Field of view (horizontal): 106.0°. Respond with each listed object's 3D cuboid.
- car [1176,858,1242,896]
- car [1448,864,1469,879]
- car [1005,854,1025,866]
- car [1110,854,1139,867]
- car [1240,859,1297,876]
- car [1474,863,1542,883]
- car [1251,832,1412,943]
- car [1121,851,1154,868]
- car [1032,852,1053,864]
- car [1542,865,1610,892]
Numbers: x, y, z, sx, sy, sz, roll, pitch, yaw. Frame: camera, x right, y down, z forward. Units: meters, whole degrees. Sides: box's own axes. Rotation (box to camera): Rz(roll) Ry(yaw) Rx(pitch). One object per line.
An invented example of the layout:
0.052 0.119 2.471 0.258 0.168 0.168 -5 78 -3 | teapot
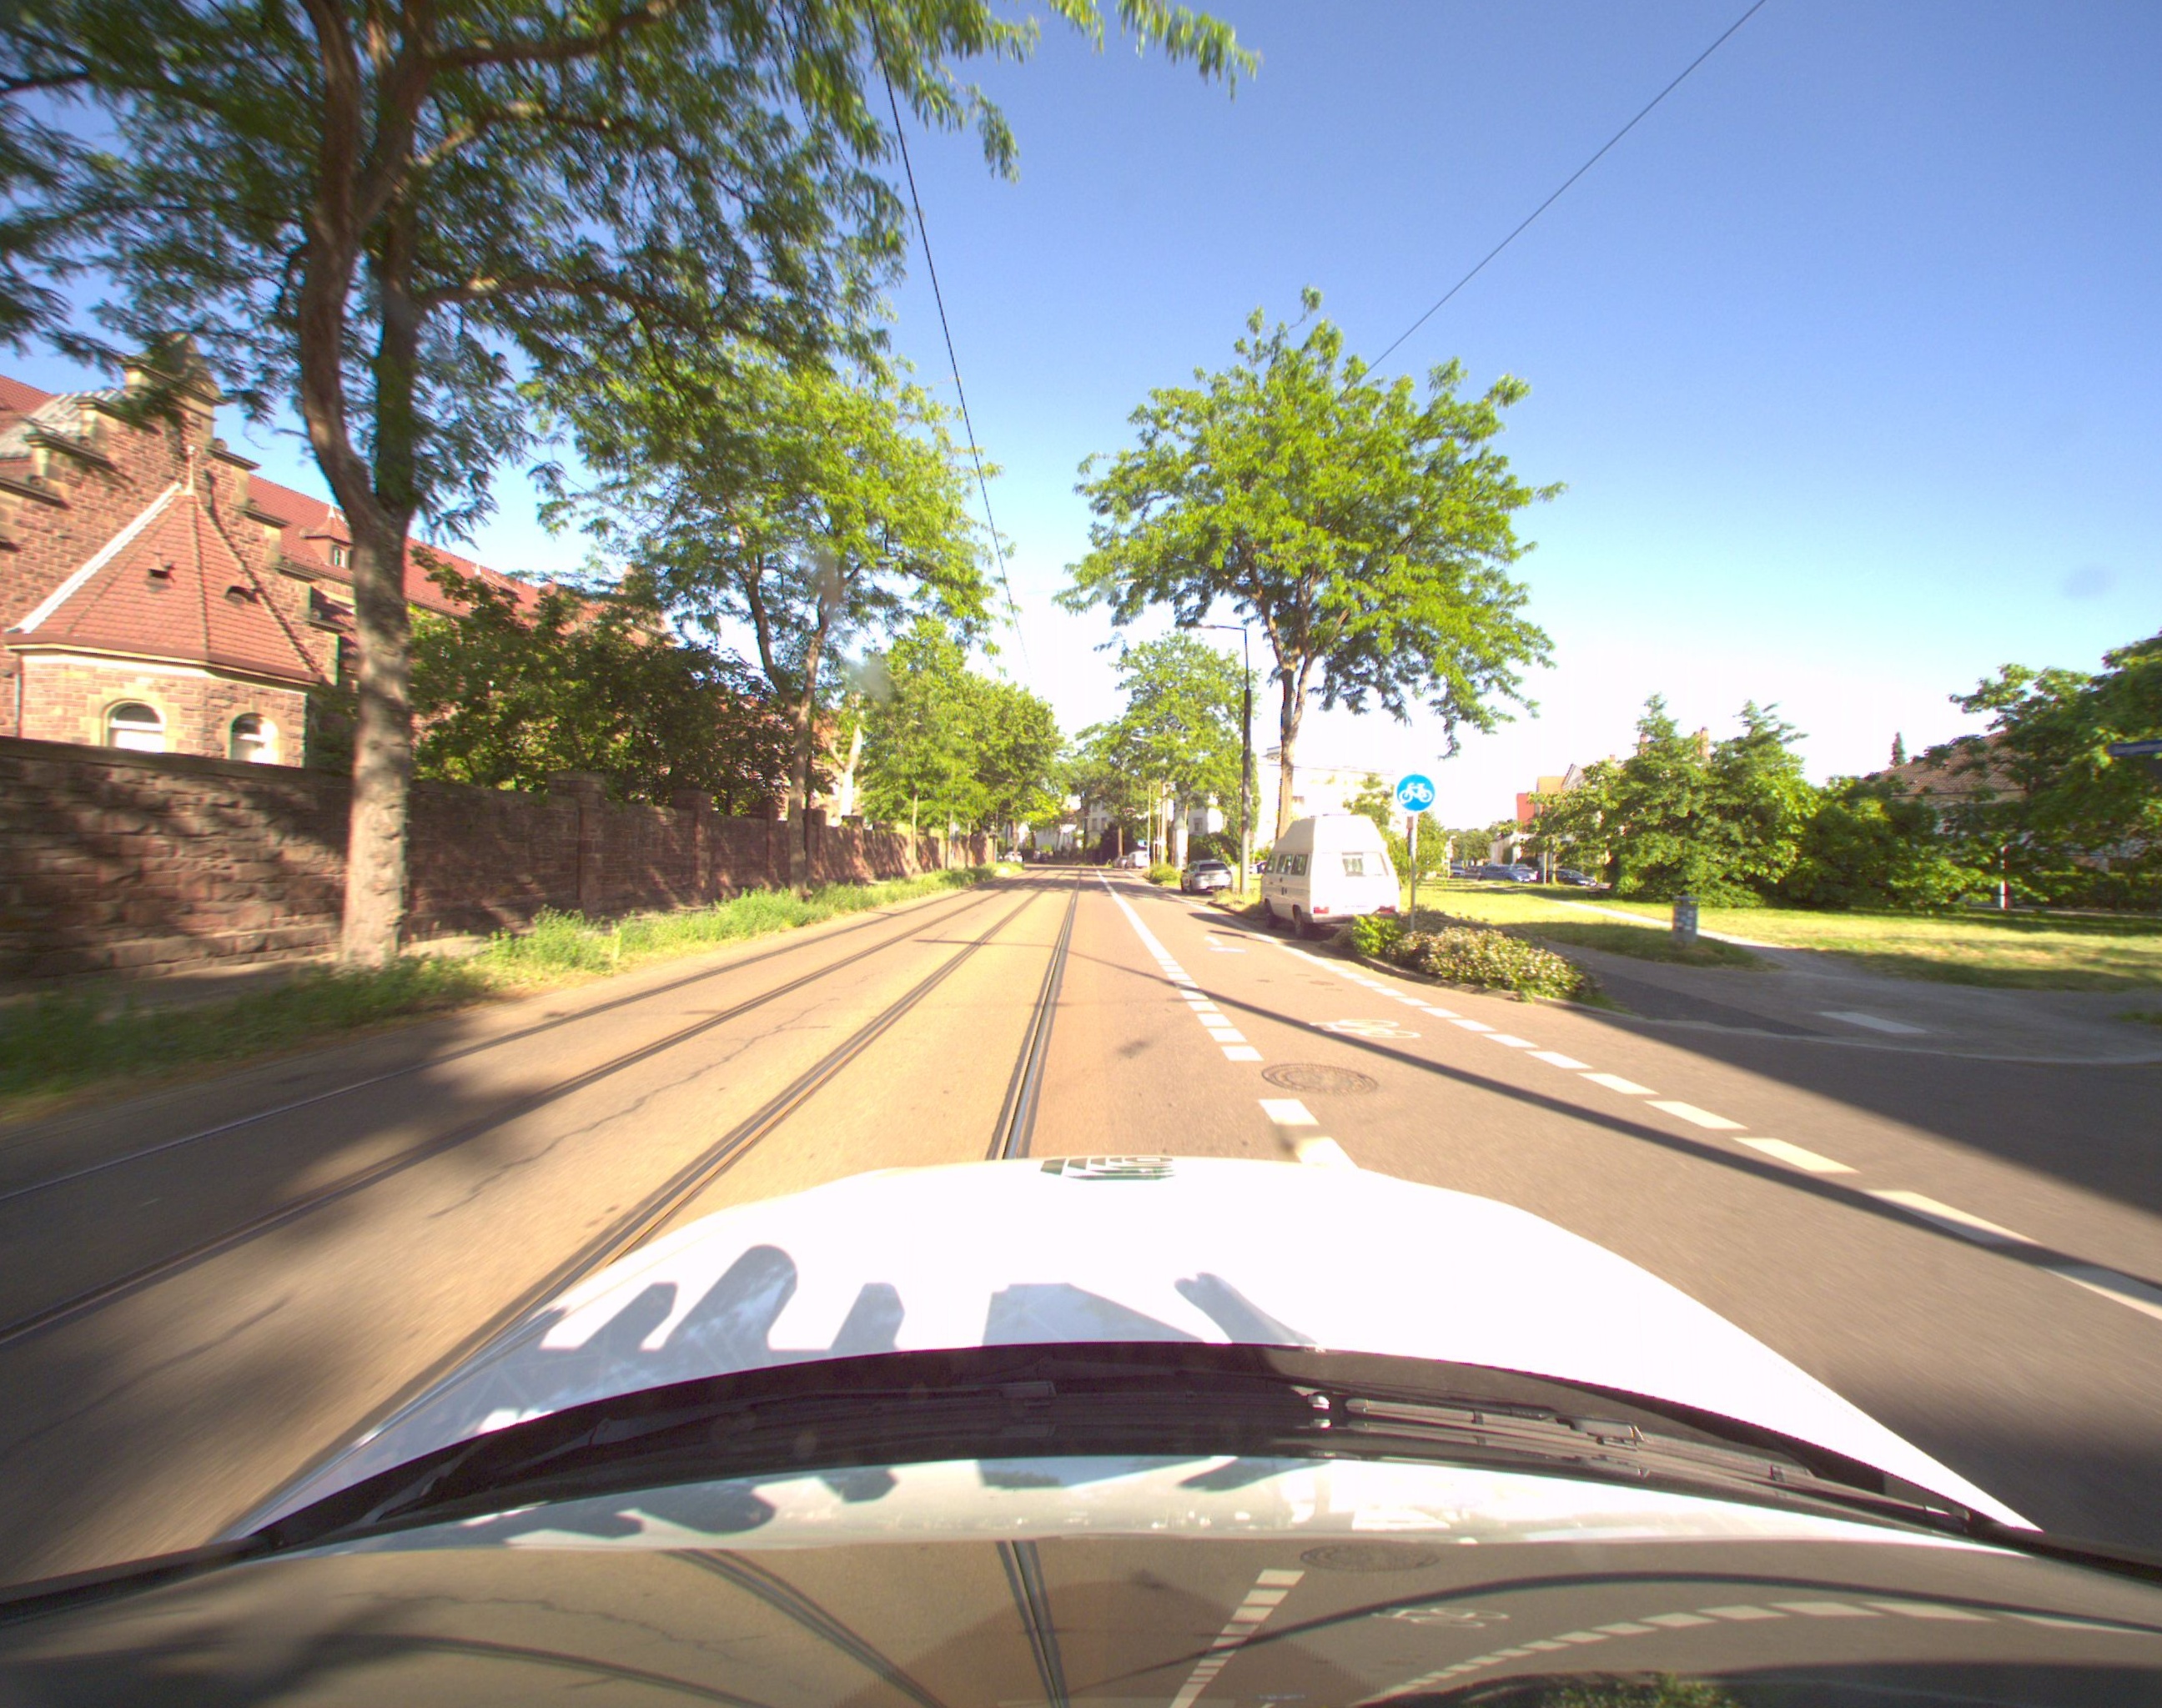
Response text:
5.583 0.953 36.229 1.995 1.465 5.430 -2 0 -1 | car
43.650 2.008 94.144 2.027 1.708 4.311 1 0 23 | car
-9.925 0.916 122.108 1.900 1.611 4.198 2 -2 -21 | car
4.898 0.744 92.492 1.997 1.423 4.309 1 -1 -16 | car
16.379 1.159 71.201 4.522 1.369 1.957 1 0 -18 | car
34.574 1.512 66.084 2.064 1.471 4.726 1 0 -19 | car
5.282 0.633 17.906 1.988 2.095 4.714 1 0 -1 | car
5.969 0.556 86.603 2.026 1.746 4.728 1 0 -15 | car
-5.913 0.530 124.450 1.810 1.694 4.699 -2 1 -19 | car
36.305 1.760 59.870 1.997 1.780 3.979 2 0 -16 | car
